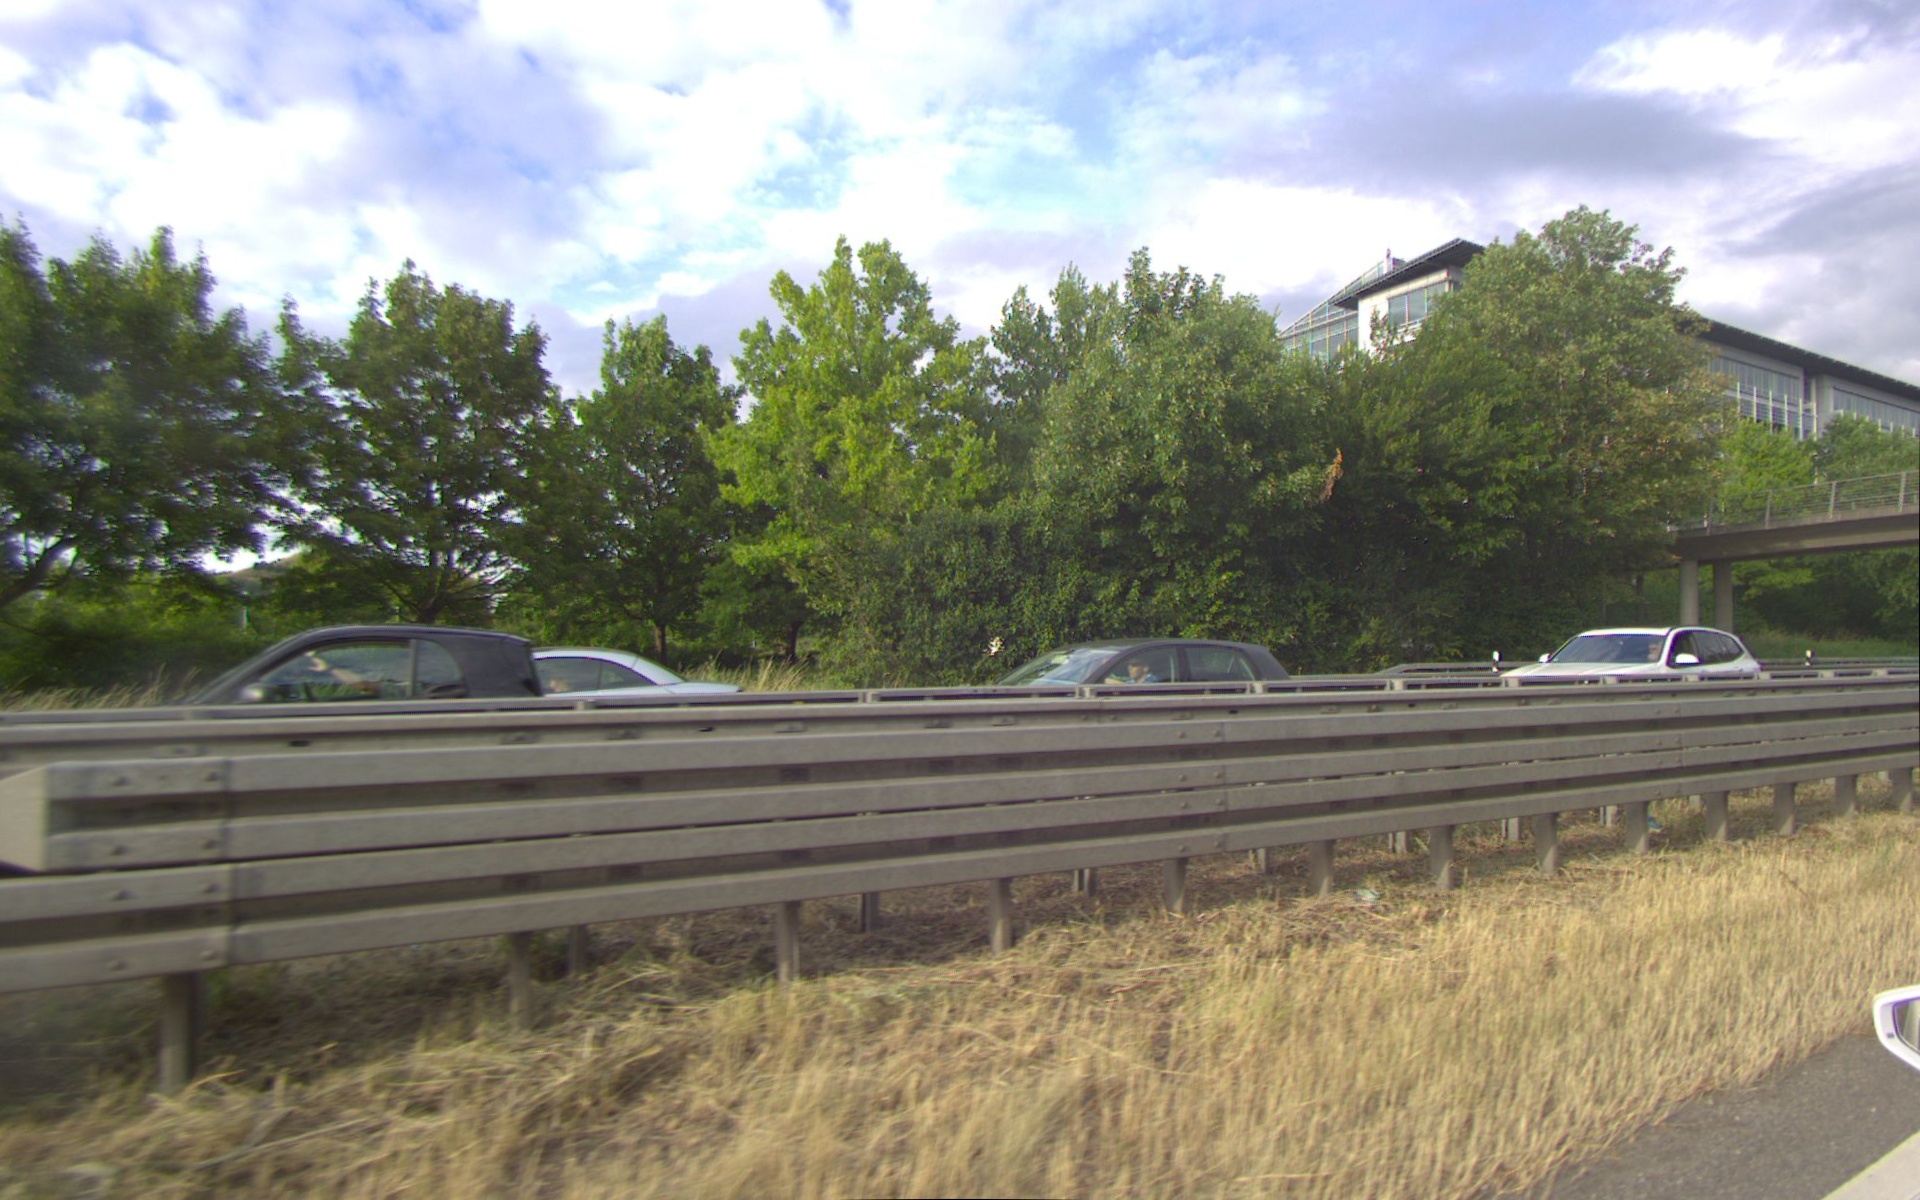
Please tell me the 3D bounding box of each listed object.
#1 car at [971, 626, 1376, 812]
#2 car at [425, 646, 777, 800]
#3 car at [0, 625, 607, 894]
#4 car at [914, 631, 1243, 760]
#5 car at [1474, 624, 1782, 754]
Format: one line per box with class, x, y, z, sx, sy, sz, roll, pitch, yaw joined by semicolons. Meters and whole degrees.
car;2.116;1.014;9.763;3.691;1.486;1.710;1;-2;-31
car;-3.735;1.186;10.605;3.274;1.371;1.421;2;-2;-32
car;-4.233;0.860;6.564;3.422;1.378;1.548;0;-1;-31
car;1.688;1.253;14.027;4.344;1.556;1.827;2;-4;-29
car;9.657;1.168;14.430;4.735;1.605;1.814;1;-2;-31
